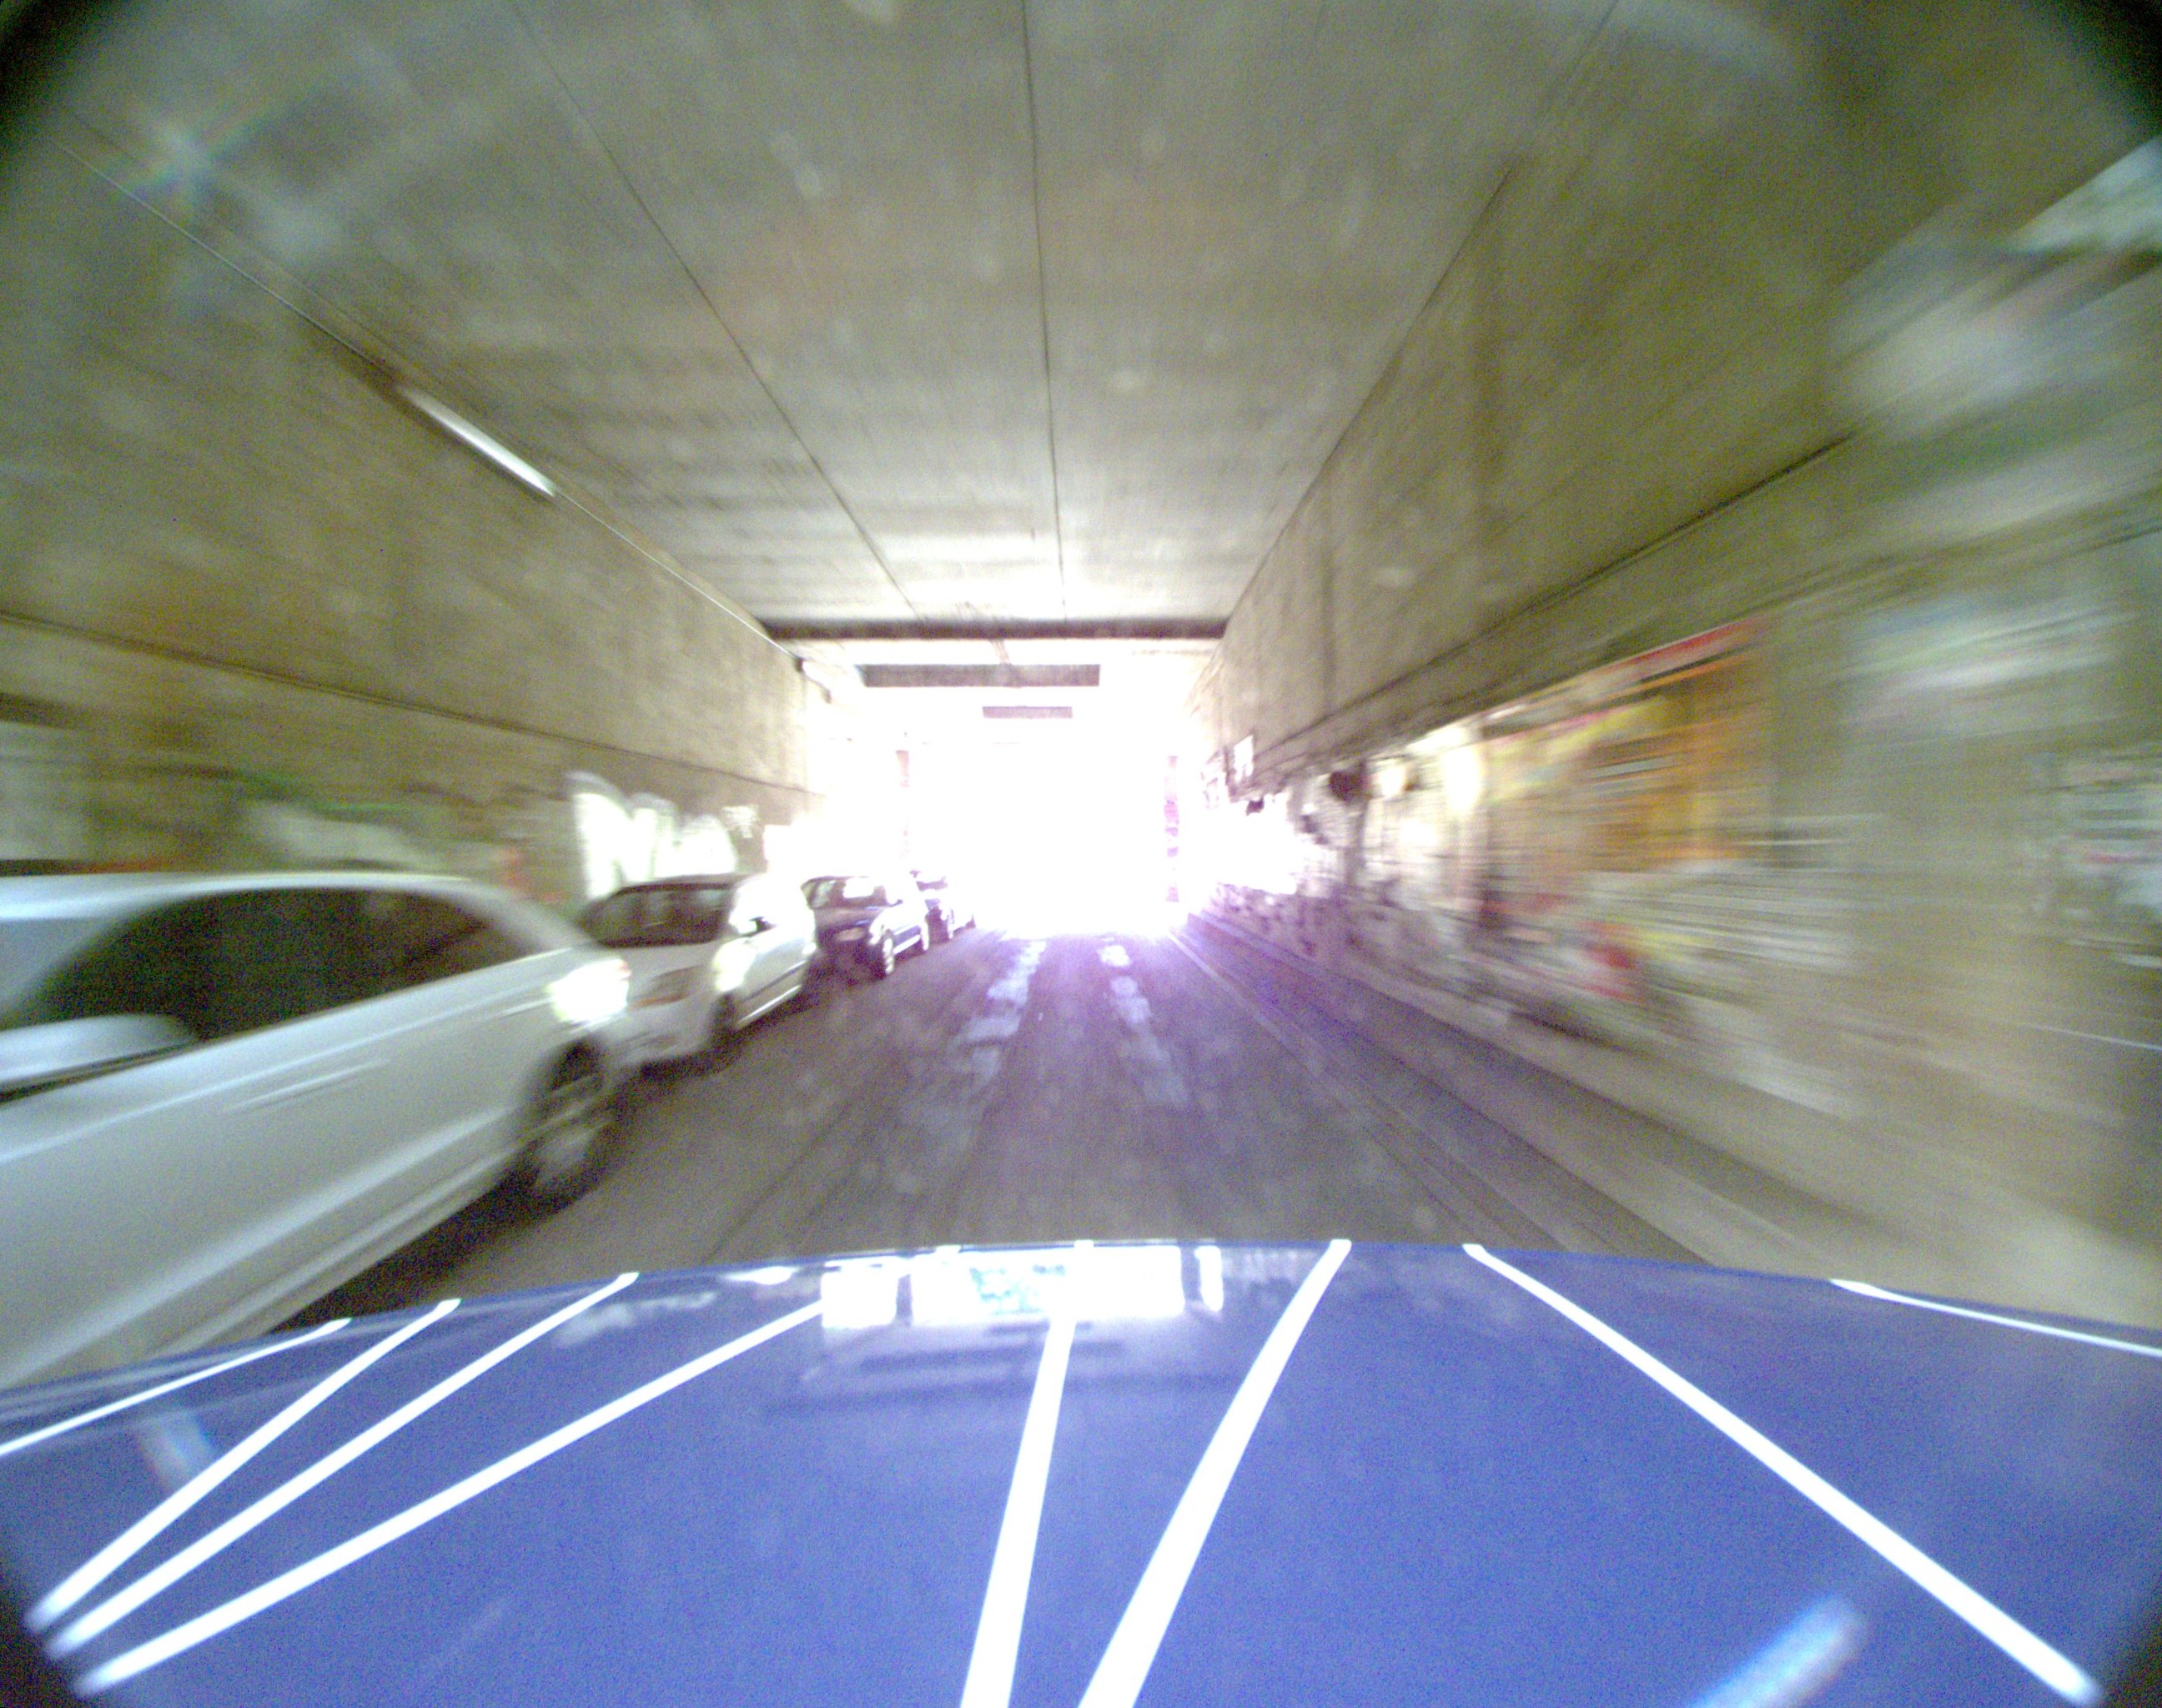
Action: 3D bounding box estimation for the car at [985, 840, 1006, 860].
[{"bbox_3d":[-9.157,-0.432,81.131,1.997,2.017,4.300,-1,0,-10],"label":"car"}]

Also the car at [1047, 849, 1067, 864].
[{"bbox_3d":[-2.784,0.270,86.444,1.786,1.548,3.818,-1,1,-9],"label":"car"}]

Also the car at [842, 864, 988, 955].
[{"bbox_3d":[-3.300,1.047,16.104,1.856,1.424,4.607,-3,1,2],"label":"car"}]

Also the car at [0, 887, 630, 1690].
[{"bbox_3d":[-3.147,0.984,1.854,1.734,1.537,4.154,-1,1,-3],"label":"car"}]

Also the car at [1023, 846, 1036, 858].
[{"bbox_3d":[-7.932,-0.327,116.988,1.777,1.871,3.996,-1,1,-8],"label":"car"}]

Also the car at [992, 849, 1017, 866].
[{"bbox_3d":[-6.799,0.345,67.320,1.779,1.432,3.997,2,-1,-10],"label":"car"}]

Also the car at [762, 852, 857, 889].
[{"bbox_3d":[-11.965,0.715,33.662,3.530,1.510,1.724,-1,2,-3],"label":"car"}]

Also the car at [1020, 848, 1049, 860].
[{"bbox_3d":[-6.861,0.031,112.152,4.000,1.576,1.817,-1,-2,-9],"label":"car"}]

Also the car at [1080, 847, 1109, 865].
[{"bbox_3d":[1.101,0.117,63.695,1.693,1.454,3.996,-1,1,-9],"label":"car"}]

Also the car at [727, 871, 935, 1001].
[{"bbox_3d":[-3.428,1.041,11.279,1.766,1.402,4.062,-1,1,-1],"label":"car"}]

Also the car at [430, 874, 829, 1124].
[{"bbox_3d":[-3.590,1.005,6.876,1.608,1.479,3.636,-1,1,-4],"label":"car"}]

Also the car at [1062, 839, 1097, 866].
[{"bbox_3d":[-0.167,-0.156,69.962,2.221,2.437,5.089,-1,1,-11],"label":"car"}]

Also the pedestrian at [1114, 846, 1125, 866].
[{"bbox_3d":[3.022,0.129,59.417,0.632,1.567,0.532,0,2,25],"label":"pedestrian"}]

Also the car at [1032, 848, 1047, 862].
[{"bbox_3d":[-5.682,0.152,103.701,1.777,1.871,3.996,-1,1,-8],"label":"car"}]

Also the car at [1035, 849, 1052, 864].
[{"bbox_3d":[-4.840,0.310,97.198,1.777,1.871,3.997,-1,0,-8],"label":"car"}]

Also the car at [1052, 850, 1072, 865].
[{"bbox_3d":[-2.064,0.323,81.875,1.695,1.548,3.818,-1,1,-9],"label":"car"}]
